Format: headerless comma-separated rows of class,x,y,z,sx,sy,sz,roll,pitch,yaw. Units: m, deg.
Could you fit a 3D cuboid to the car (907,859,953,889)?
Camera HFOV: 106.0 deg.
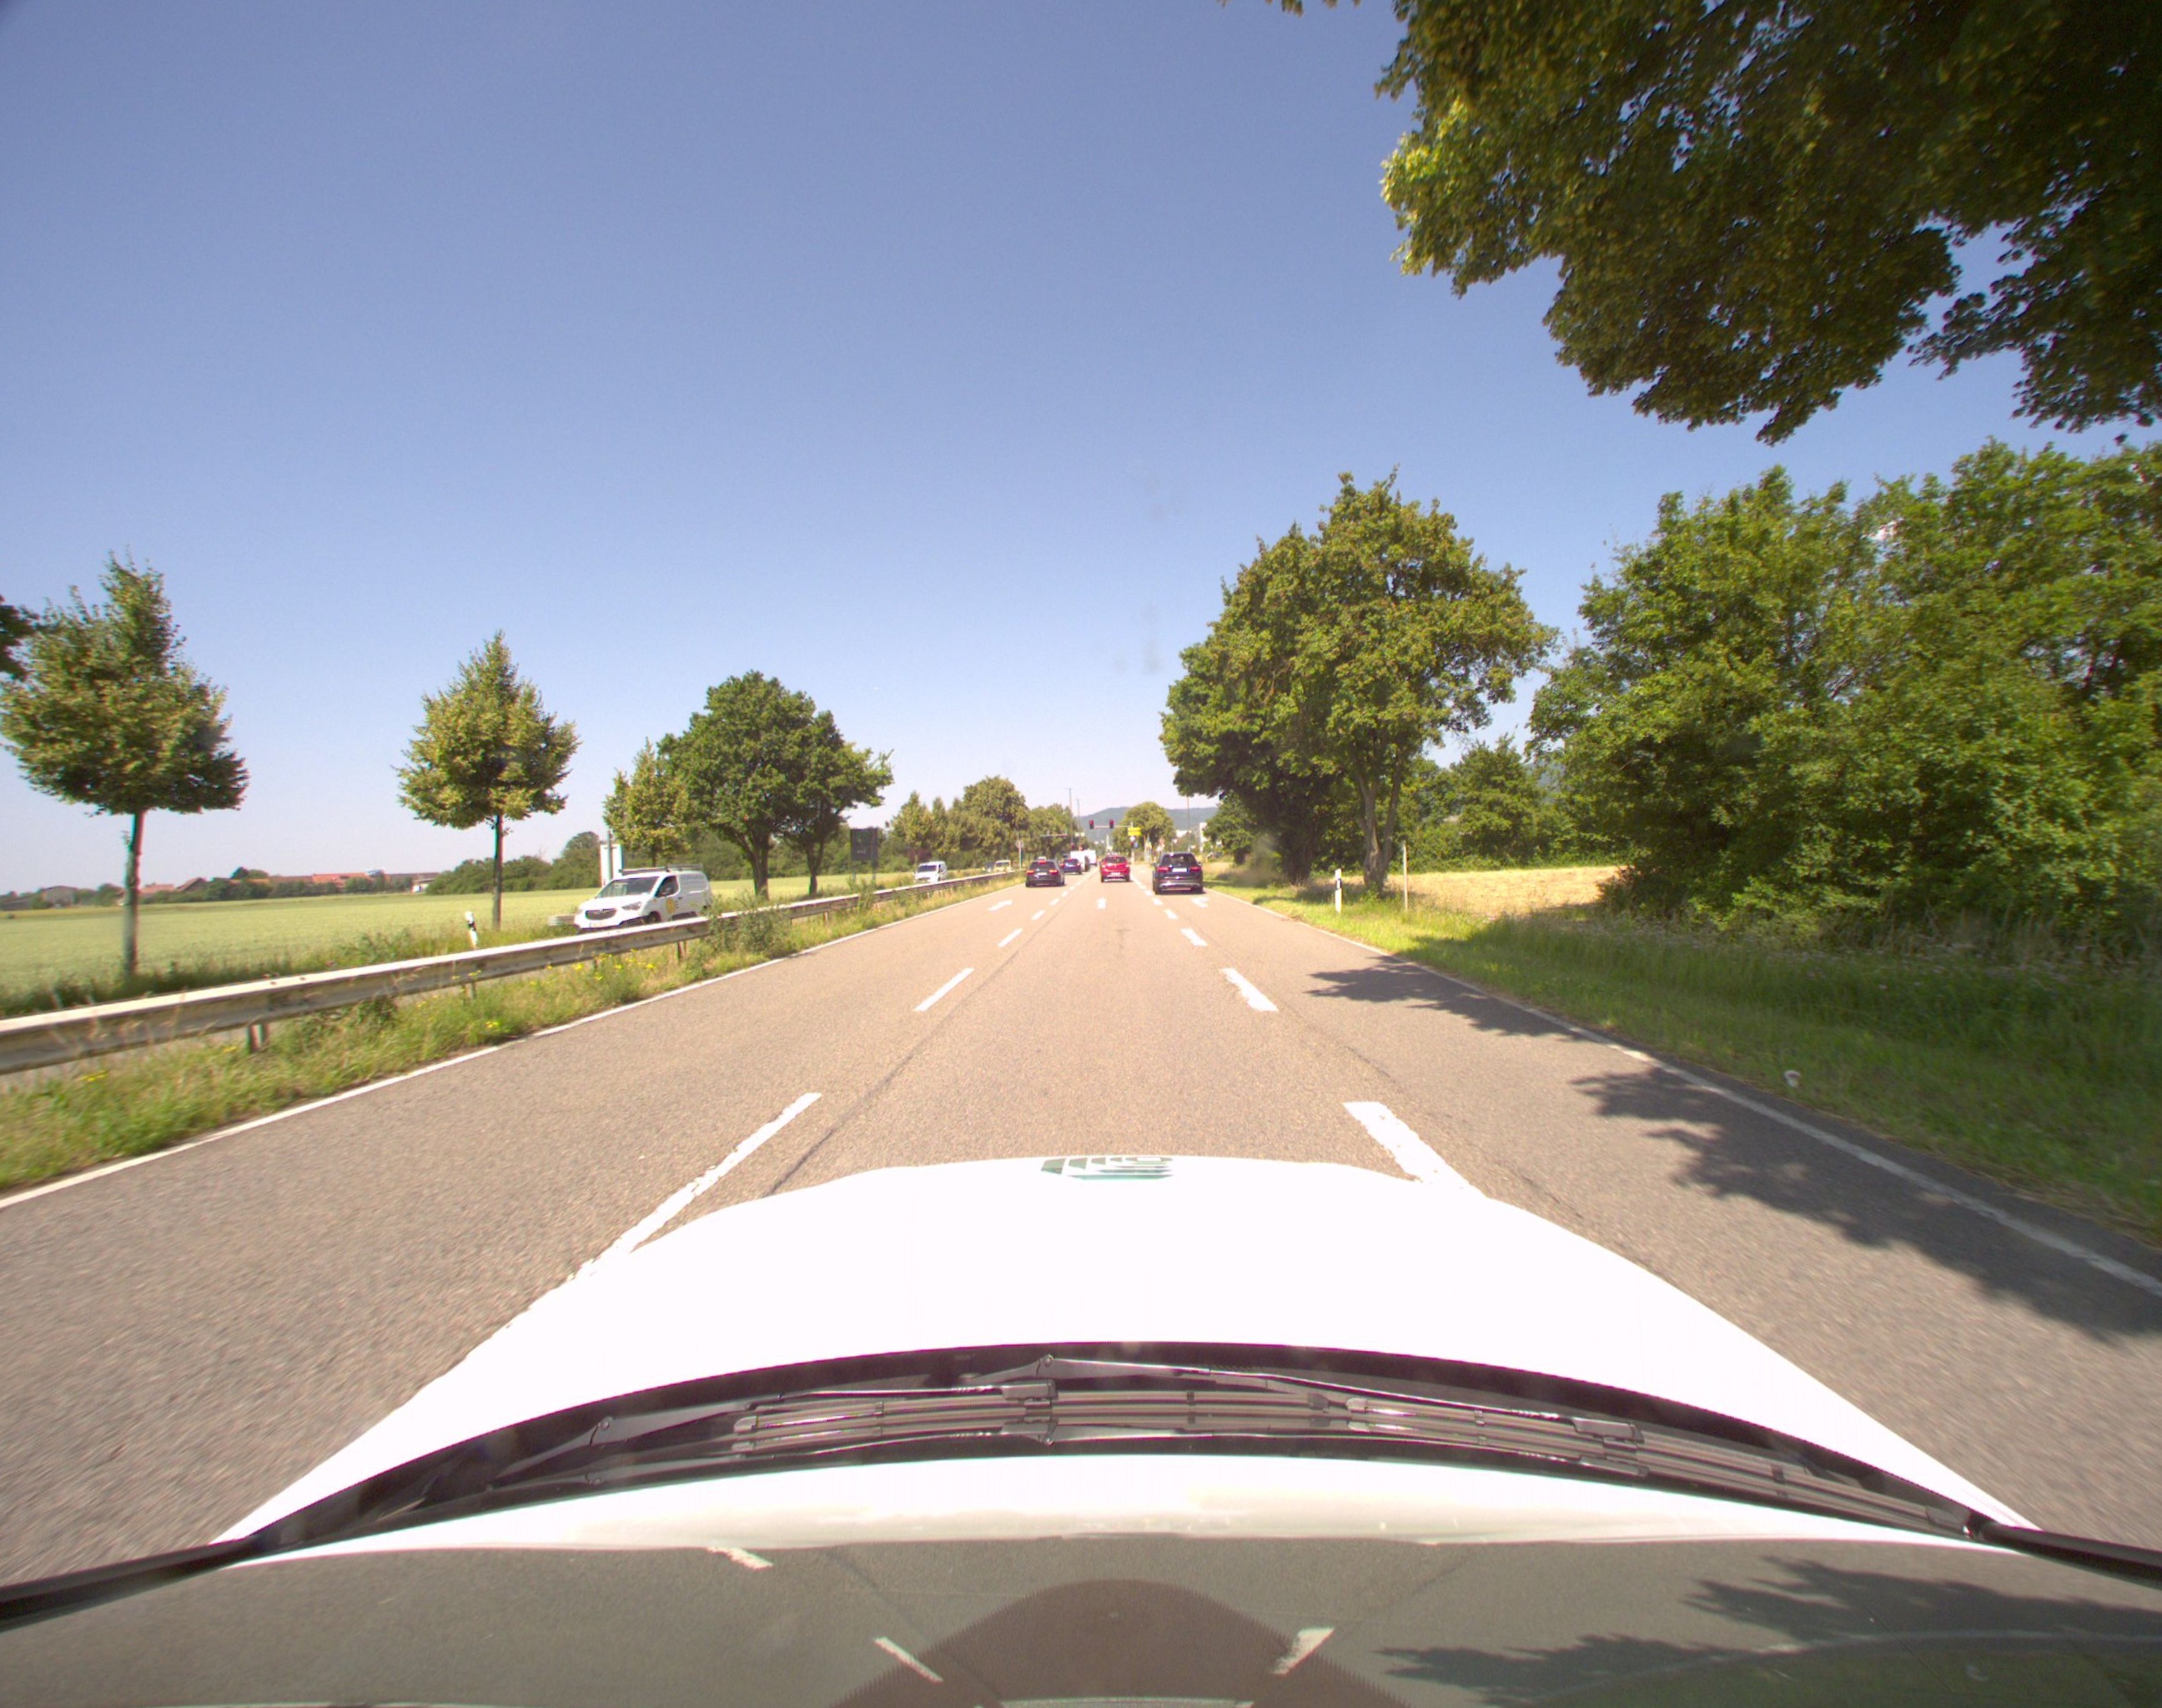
car,-10.814,1.417,58.686,1.985,1.960,4.932,-3,0,3

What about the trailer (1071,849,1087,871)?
trailer,-0.201,0.609,82.687,1.495,2.173,4.176,-1,0,2

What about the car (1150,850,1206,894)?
car,3.828,0.686,32.704,1.985,1.616,4.344,-1,0,4

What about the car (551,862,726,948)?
car,-11.954,1.285,22.435,2.029,2.013,4.536,-3,0,3

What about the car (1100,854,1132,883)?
car,2.099,0.830,48.288,1.742,1.575,3.680,-1,0,4

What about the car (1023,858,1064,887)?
car,-1.917,0.934,43.064,1.733,1.380,4.458,-2,0,2

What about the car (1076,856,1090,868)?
car,0.279,1.055,106.908,1.717,1.600,3.958,-1,0,3

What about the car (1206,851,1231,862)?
car,23.078,0.466,136.549,3.792,1.580,2.081,-3,0,13

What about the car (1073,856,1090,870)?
car,0.115,1.029,93.649,1.716,1.575,3.895,-2,0,3

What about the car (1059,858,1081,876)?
car,-0.918,1.069,70.667,1.710,1.465,4.032,-2,0,2

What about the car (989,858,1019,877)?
car,-6.720,1.160,71.342,1.985,1.557,4.483,-2,0,2

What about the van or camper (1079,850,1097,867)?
van or camper,1.031,0.580,118.307,2.170,2.302,4.830,-3,0,3

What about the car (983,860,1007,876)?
car,-9.621,1.583,91.551,1.986,1.662,4.482,-2,0,1
